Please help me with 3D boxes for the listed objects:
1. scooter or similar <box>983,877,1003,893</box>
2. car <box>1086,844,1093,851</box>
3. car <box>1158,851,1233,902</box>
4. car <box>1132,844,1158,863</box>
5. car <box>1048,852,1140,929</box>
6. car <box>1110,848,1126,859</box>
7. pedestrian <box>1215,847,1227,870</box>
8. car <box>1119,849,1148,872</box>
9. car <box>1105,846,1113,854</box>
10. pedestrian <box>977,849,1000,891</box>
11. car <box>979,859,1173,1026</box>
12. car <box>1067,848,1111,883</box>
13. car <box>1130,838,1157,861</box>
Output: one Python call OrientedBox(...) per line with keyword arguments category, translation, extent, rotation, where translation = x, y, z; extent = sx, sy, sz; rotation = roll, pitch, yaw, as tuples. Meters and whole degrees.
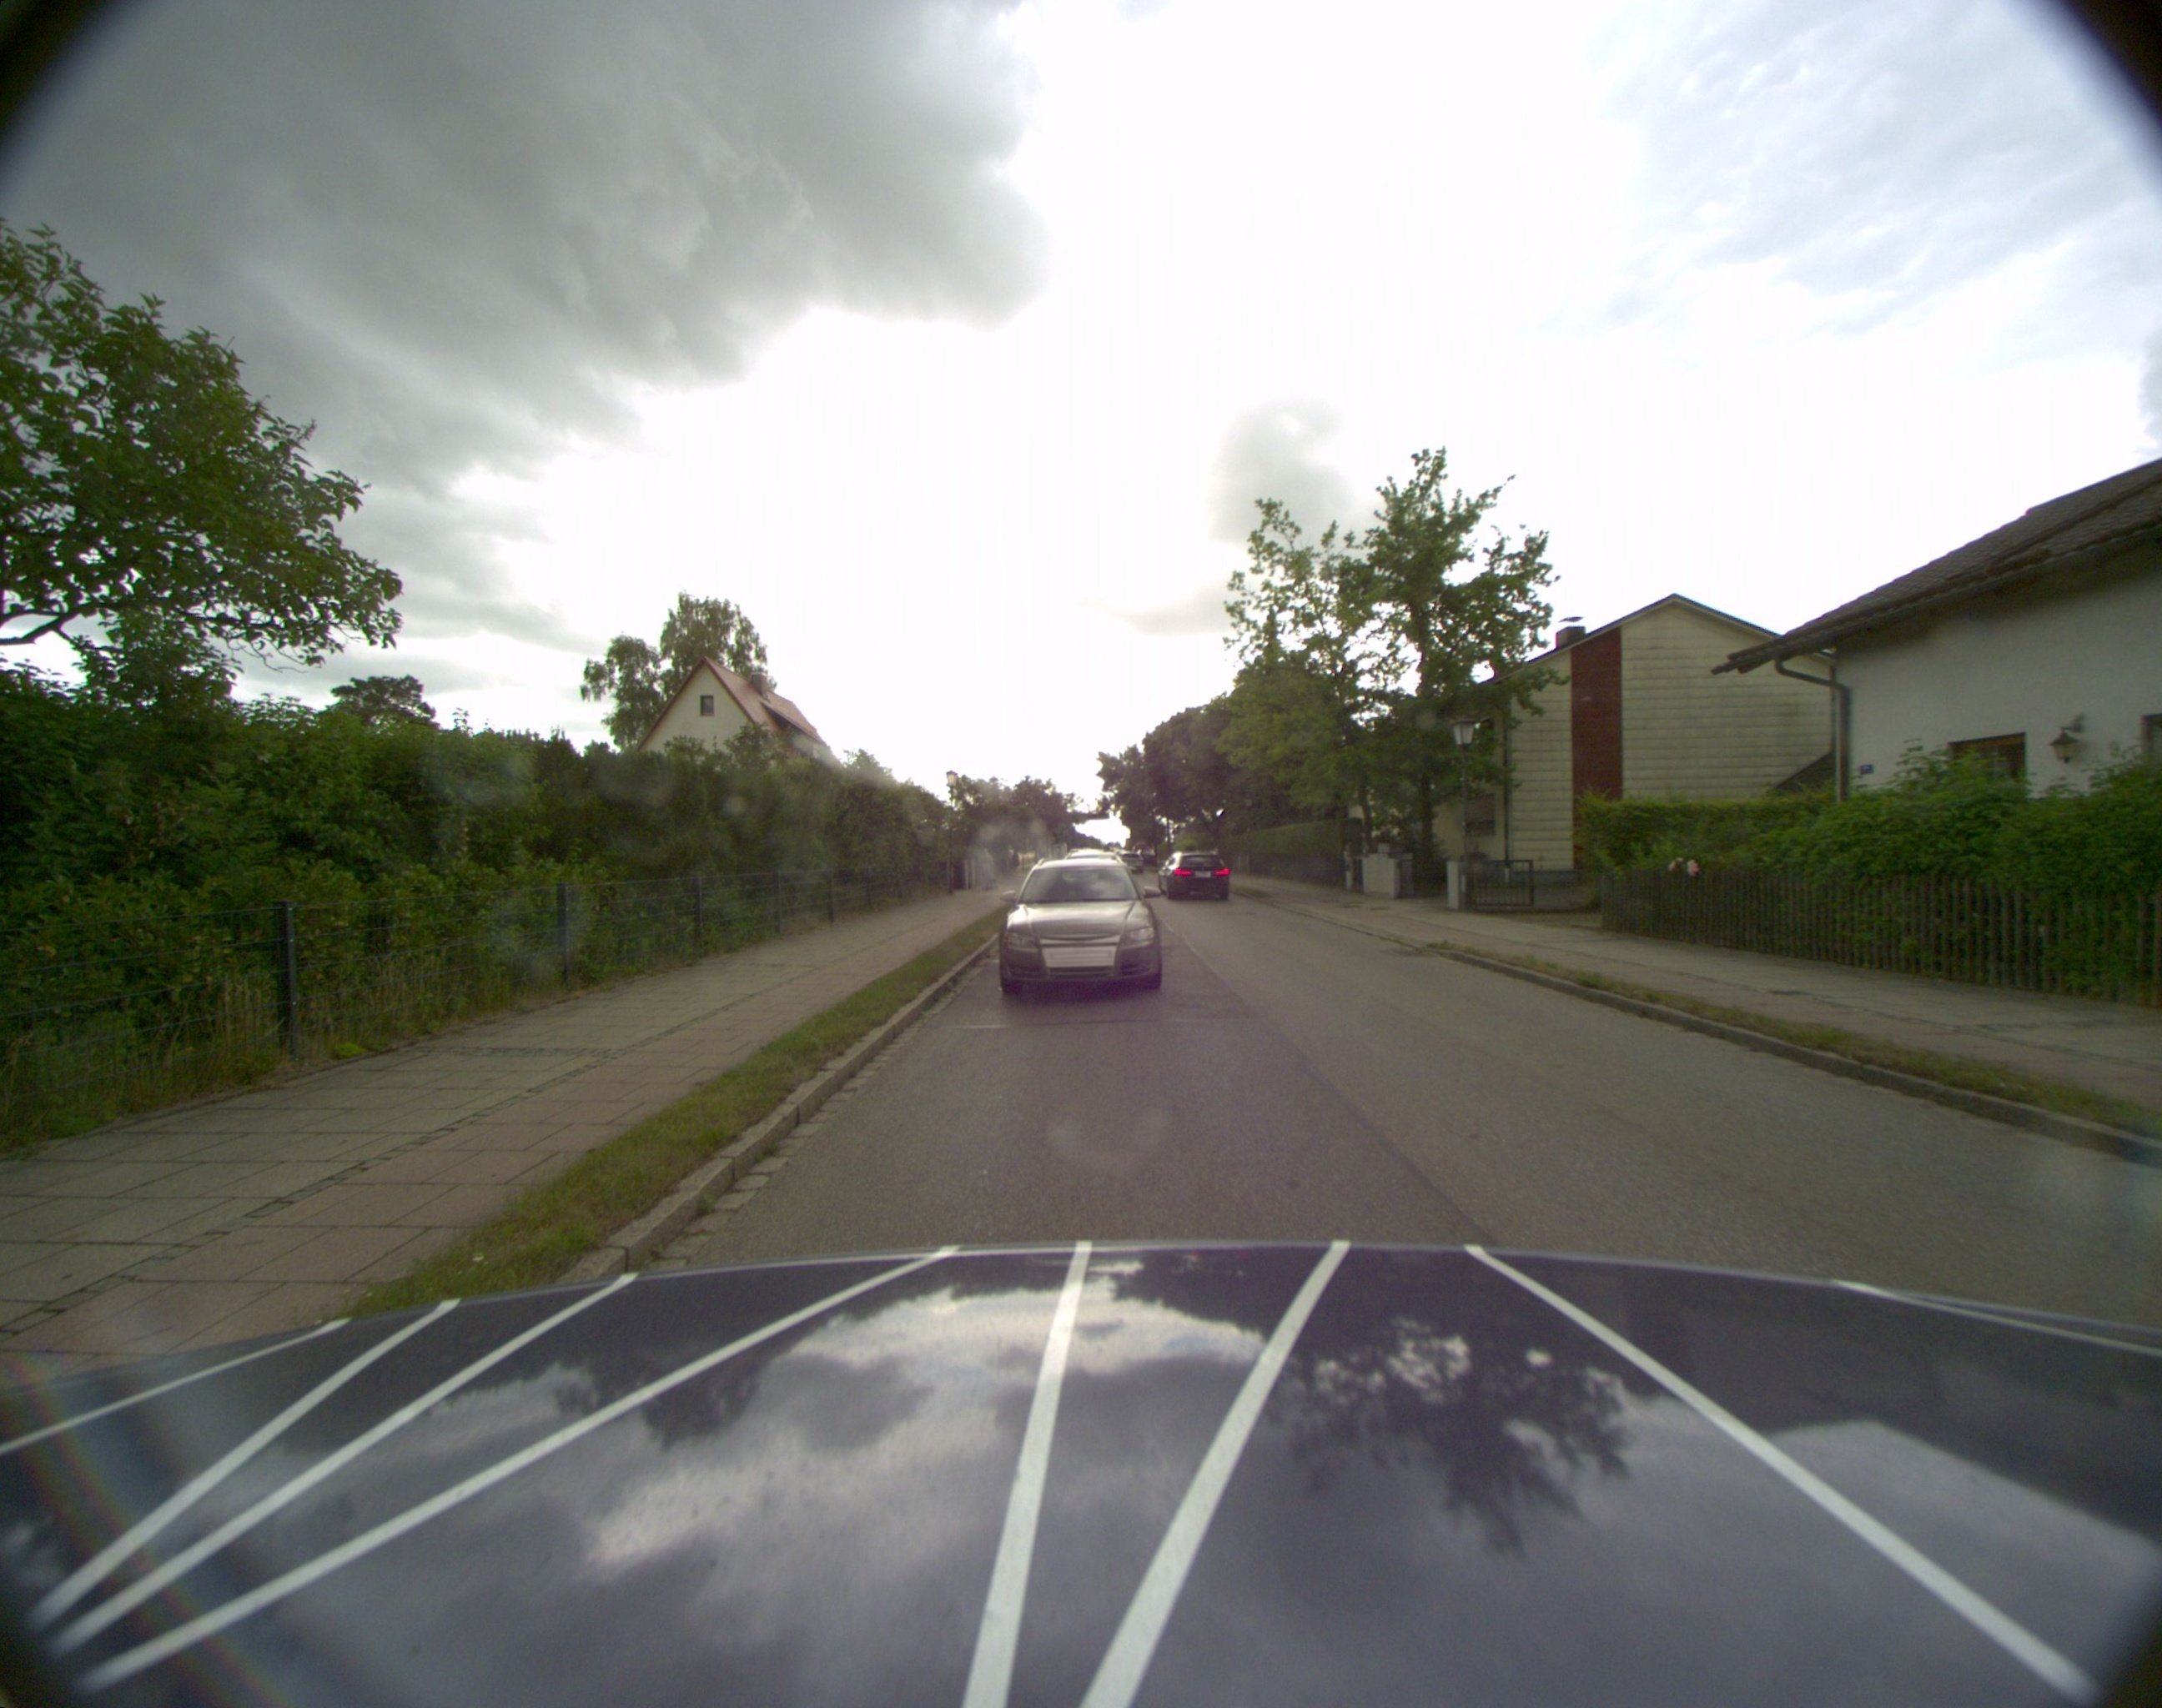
OrientedBox(category="scooter or similar", translation=(-3.341, 1.182, 28.774), extent=(0.619, 0.553, 0.741), rotation=(-1, 0, -15))
OrientedBox(category="car", translation=(2.667, -2.039, 237.164), extent=(1.998, 2.002, 4.000), rotation=(-1, 1, 1))
OrientedBox(category="car", translation=(3.593, 0.662, 24.566), extent=(1.851, 1.445, 4.549), rotation=(-1, 1, 2))
OrientedBox(category="car", translation=(6.119, -0.050, 72.873), extent=(1.999, 1.740, 3.999), rotation=(-1, 1, -2))
OrientedBox(category="car", translation=(0.295, 0.761, 18.260), extent=(1.866, 1.518, 4.942), rotation=(-2, 0, 0))
OrientedBox(category="car", translation=(5.038, -0.086, 103.591), extent=(2.029, 1.362, 4.000), rotation=(-1, 0, 2))
OrientedBox(category="pedestrian", translation=(8.824, 0.262, 47.985), extent=(0.631, 1.429, 0.563), rotation=(-1, 1, 1))
OrientedBox(category="car", translation=(3.642, 0.409, 53.549), extent=(1.756, 1.475, 4.375), rotation=(-2, 0, 0))
OrientedBox(category="car", translation=(7.351, -1.078, 201.103), extent=(1.998, 2.002, 4.000), rotation=(-2, 1, 1))
OrientedBox(category="pedestrian", translation=(-3.580, 0.600, 29.433), extent=(0.793, 1.592, 0.670), rotation=(0, 1, -14))
OrientedBox(category="car", translation=(-0.031, 0.863, 9.371), extent=(1.809, 1.476, 4.270), rotation=(-2, 0, 0))
OrientedBox(category="car", translation=(0.367, 0.503, 35.678), extent=(1.866, 1.518, 4.122), rotation=(-2, 0, 0))
OrientedBox(category="car", translation=(6.429, -0.432, 78.869), extent=(2.246, 2.258, 4.469), rotation=(-2, 1, -2))
